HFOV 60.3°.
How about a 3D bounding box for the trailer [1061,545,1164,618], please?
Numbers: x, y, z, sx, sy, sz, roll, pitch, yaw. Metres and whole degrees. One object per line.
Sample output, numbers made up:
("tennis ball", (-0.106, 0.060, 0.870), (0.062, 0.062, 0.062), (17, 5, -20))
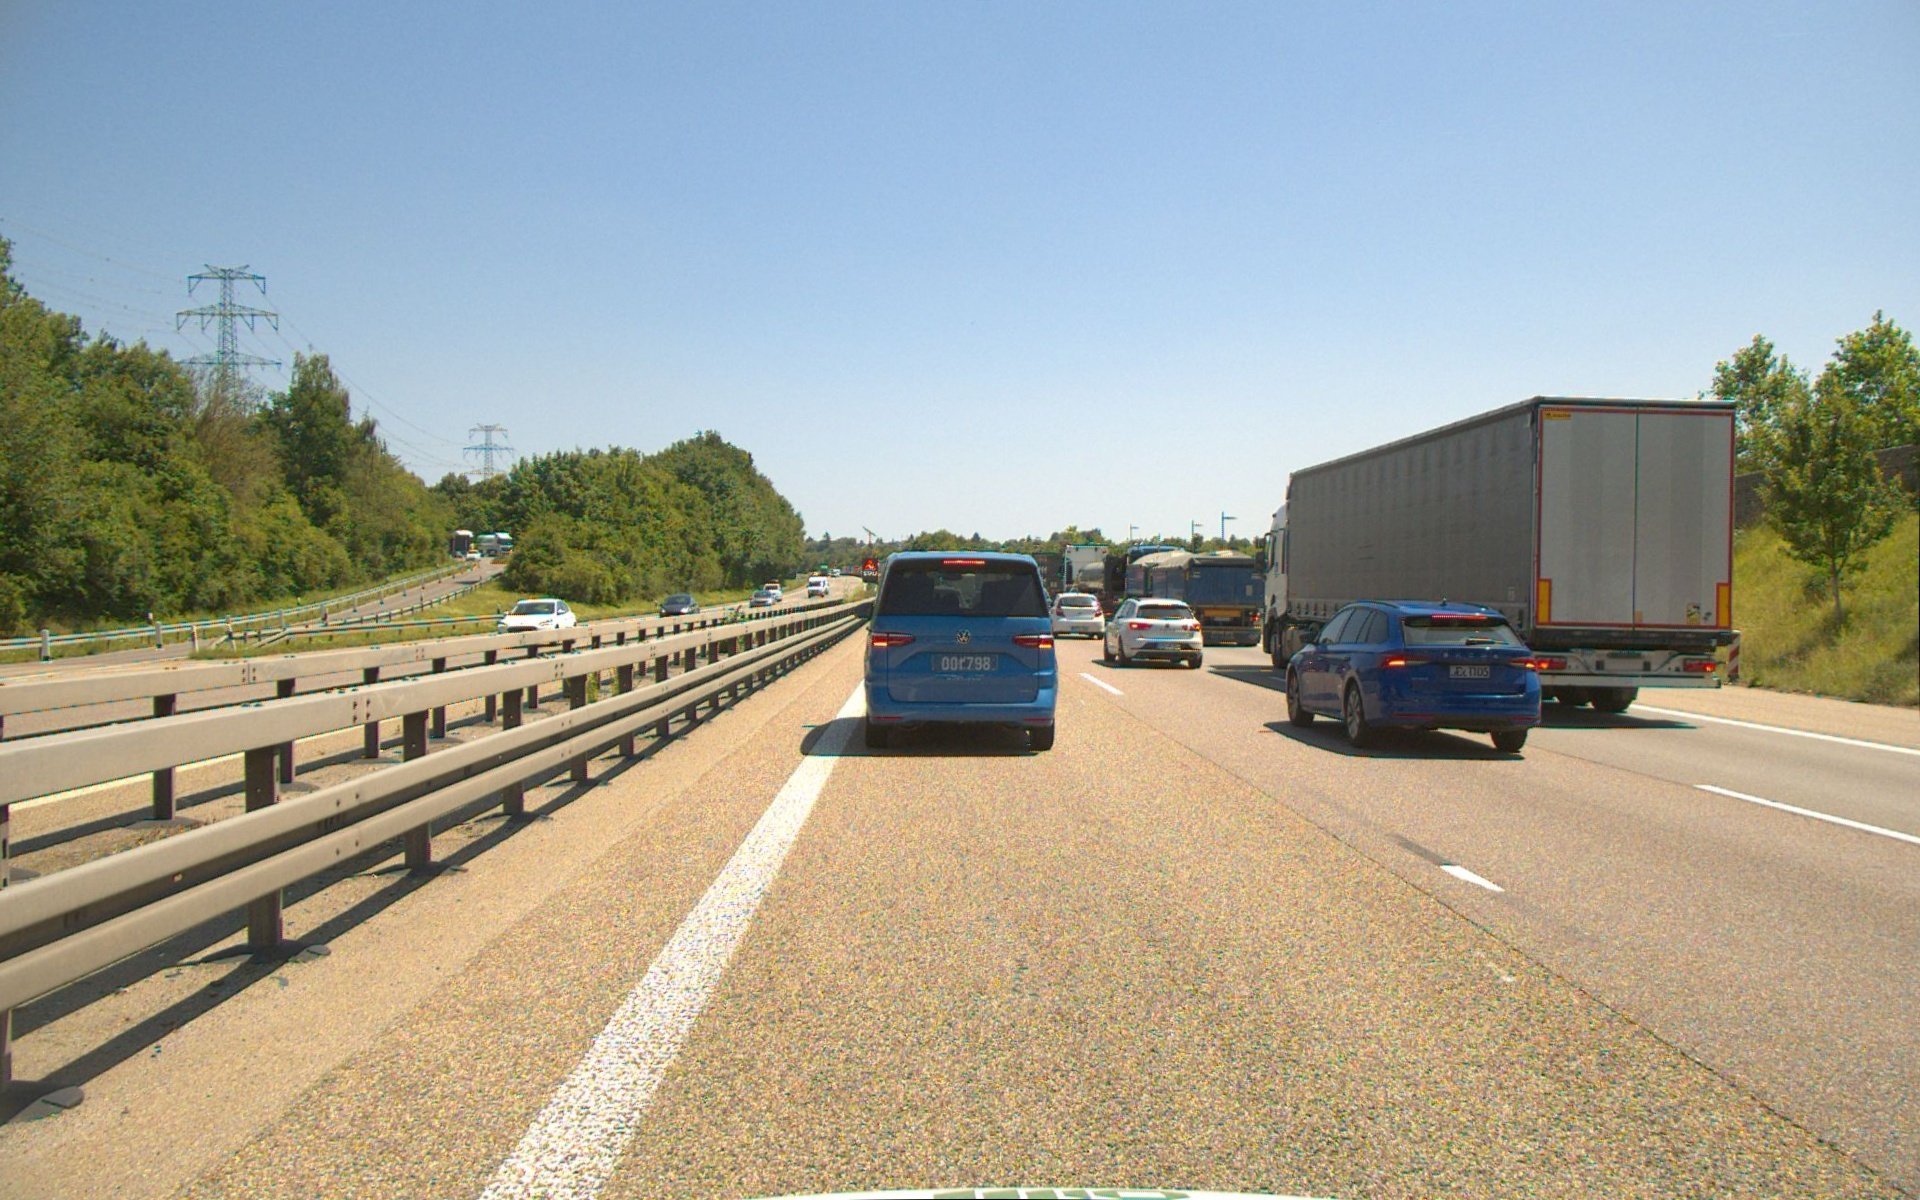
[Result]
("trailer", (7.186, -0.726, 80.396), (3.571, 3.133, 15.771), (1, -1, 0))

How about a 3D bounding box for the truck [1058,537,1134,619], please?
("truck", (7.245, -1.103, 89.158), (3.551, 4.166, 7.524), (1, -1, 1))

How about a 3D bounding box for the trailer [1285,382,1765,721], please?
("trailer", (8.265, -0.590, 27.091), (2.902, 4.120, 13.748), (1, 0, -1))

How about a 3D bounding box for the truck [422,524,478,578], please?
("truck", (-75.153, -7.094, 243.337), (4.625, 7.354, 13.495), (2, -1, -31))

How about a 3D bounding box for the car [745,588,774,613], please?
("car", (-14.353, 0.051, 118.699), (1.737, 1.659, 3.949), (1, -1, -2))

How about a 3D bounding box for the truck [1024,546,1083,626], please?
("truck", (6.334, -0.895, 112.840), (3.584, 5.270, 5.708), (1, -1, 0))

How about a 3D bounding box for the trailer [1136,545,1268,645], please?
("trailer", (7.626, -0.208, 53.384), (2.688, 2.886, 9.114), (1, 1, -1))

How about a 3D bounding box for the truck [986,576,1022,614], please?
("truck", (2.302, -0.236, 87.774), (1.690, 1.890, 3.998), (1, -1, -2))

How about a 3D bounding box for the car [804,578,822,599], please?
("car", (-19.167, -1.492, 215.337), (2.011, 2.697, 5.836), (1, -1, -2))

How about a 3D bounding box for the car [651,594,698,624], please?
("car", (-14.707, 0.469, 85.419), (1.838, 1.472, 4.143), (-1, -1, -2))

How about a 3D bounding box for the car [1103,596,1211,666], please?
("car", (4.189, 0.633, 35.650), (1.829, 1.385, 4.000), (1, 0, 0))

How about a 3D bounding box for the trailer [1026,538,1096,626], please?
("trailer", (6.369, -1.037, 106.390), (3.572, 5.226, 13.074), (1, -1, 0))

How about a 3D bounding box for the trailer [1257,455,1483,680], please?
("trailer", (8.109, -0.620, 33.621), (2.865, 4.114, 6.409), (1, 0, -1))

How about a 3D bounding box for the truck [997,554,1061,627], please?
("truck", (5.319, -0.634, 130.701), (3.549, 5.304, 15.679), (1, -1, -3))

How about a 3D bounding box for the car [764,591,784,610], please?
("car", (-20.705, 0.048, 184.036), (1.827, 1.938, 5.489), (-2, -1, -3))

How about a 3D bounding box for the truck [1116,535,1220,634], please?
("truck", (7.493, -0.589, 60.477), (2.688, 3.369, 7.131), (1, 1, -1))

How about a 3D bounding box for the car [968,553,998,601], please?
("car", (2.632, -2.680, 194.994), (3.153, 5.349, 8.141), (1, -1, -1))

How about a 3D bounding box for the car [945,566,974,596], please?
("car", (-0.096, -1.790, 161.210), (2.500, 2.765, 5.618), (1, -1, -3))

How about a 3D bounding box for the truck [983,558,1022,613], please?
("truck", (4.033, -1.266, 158.933), (3.006, 5.006, 10.686), (1, -1, -2))

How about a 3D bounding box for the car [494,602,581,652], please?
("car", (-13.358, 0.848, 52.529), (1.813, 1.493, 4.302), (-1, -1, -3))

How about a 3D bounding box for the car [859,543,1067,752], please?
("car", (0.025, 0.454, 17.100), (1.862, 1.870, 3.999), (1, -1, 0))

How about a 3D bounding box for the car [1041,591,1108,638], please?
("car", (3.777, 0.478, 55.328), (1.803, 1.480, 3.998), (1, -1, -2))

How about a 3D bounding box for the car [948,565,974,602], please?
("car", (0.090, -2.513, 252.660), (3.156, 5.349, 8.135), (1, -1, -5))

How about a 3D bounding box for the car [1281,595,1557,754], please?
("car", (4.758, 0.729, 17.810), (1.671, 1.466, 4.426), (1, -1, -1))

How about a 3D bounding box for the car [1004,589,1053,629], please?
("car", (2.822, 0.377, 68.547), (1.745, 1.551, 3.998), (1, -1, -2))
